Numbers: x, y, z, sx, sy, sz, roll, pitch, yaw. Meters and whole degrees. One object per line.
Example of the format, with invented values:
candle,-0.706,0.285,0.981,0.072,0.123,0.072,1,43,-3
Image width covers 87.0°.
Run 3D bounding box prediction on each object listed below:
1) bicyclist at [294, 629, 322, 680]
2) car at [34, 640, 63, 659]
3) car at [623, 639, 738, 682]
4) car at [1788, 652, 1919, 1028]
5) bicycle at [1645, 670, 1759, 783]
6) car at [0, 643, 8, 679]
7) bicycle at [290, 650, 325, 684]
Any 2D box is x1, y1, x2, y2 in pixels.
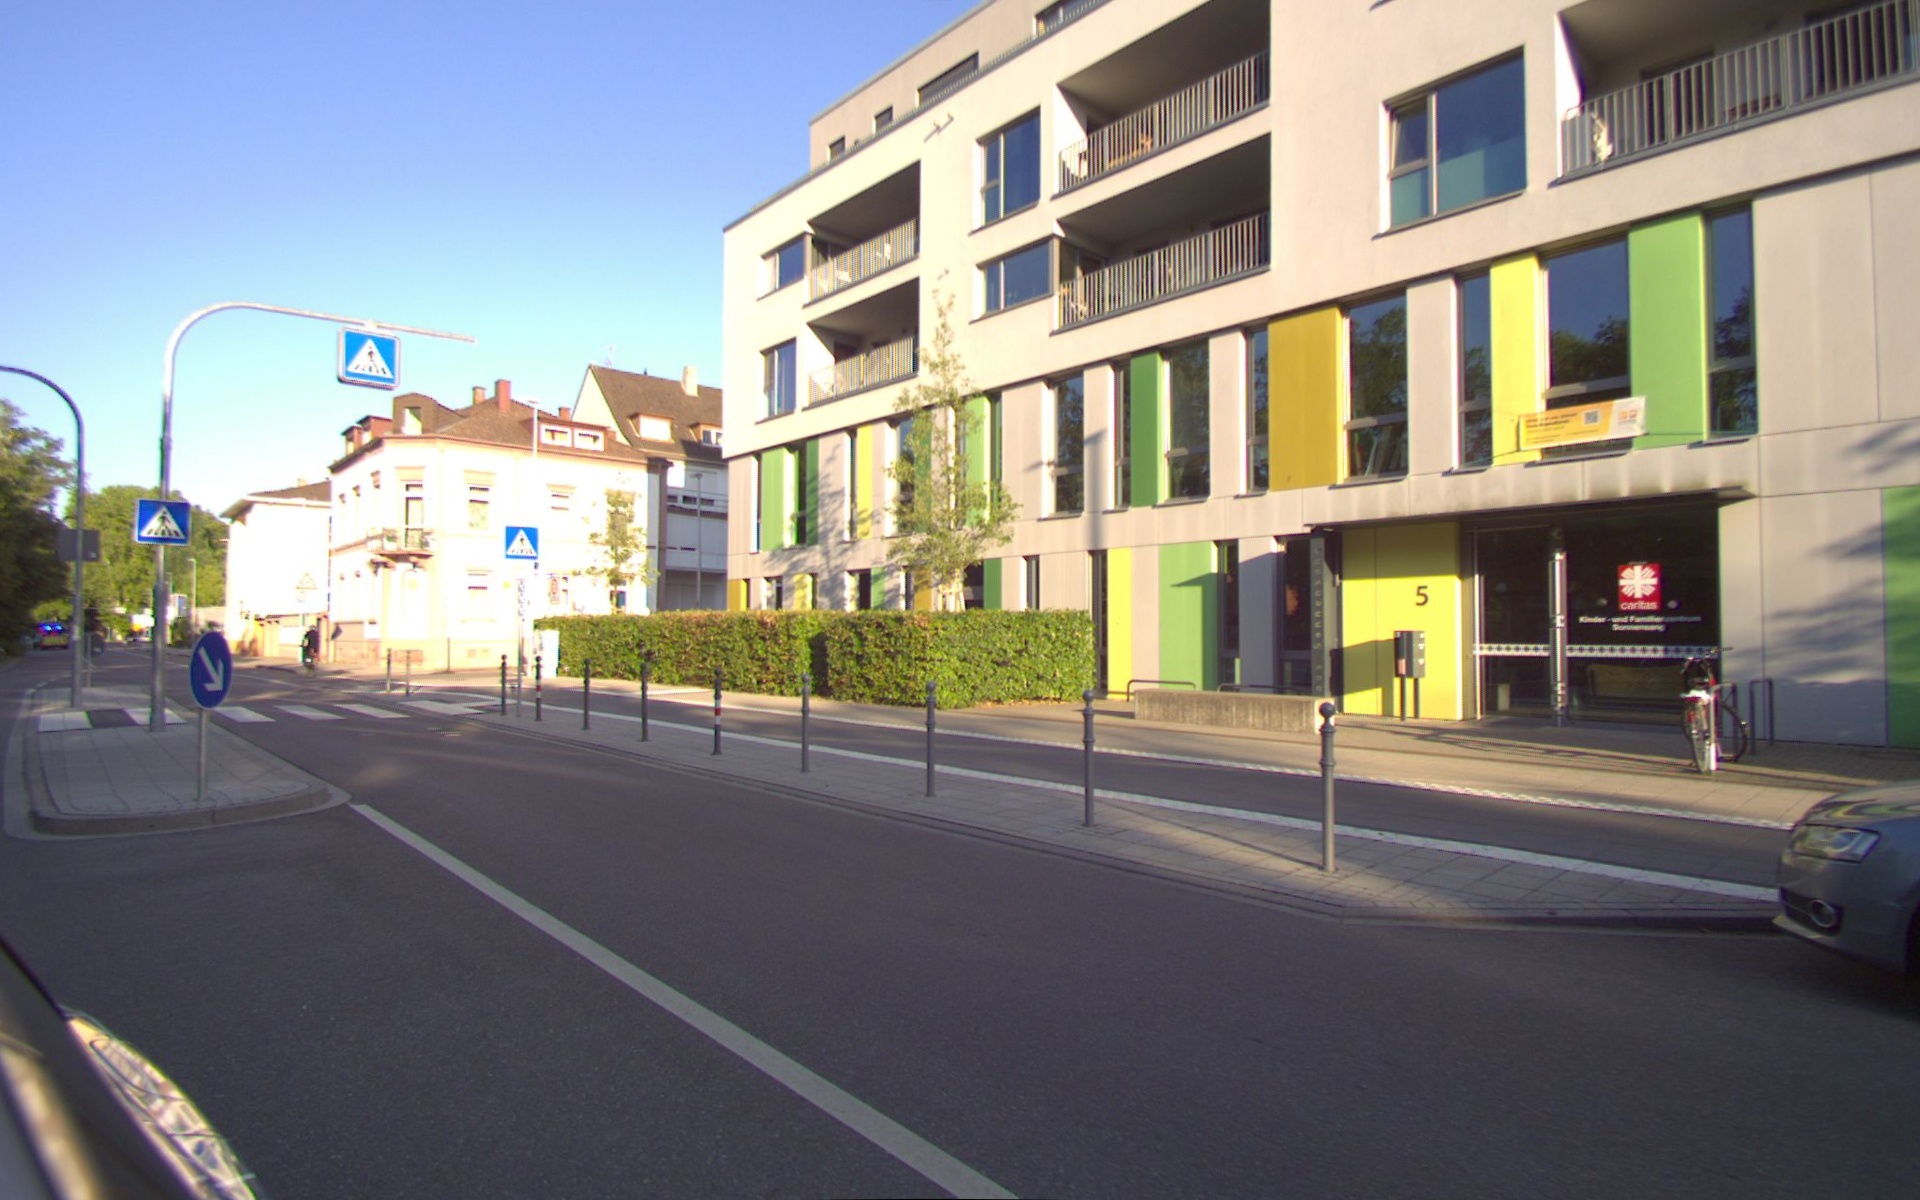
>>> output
bicyclist,-21.392,1.792,33.193,0.619,1.657,0.758,2,-4,-43
car,-102.085,5.549,113.381,2.195,2.029,4.897,2,-3,-41
car,-10.854,2.320,39.381,3.857,1.449,1.822,2,2,-41
car,5.391,0.855,2.936,1.721,1.367,4.401,3,-4,-42
bicycle,7.355,1.203,10.003,1.731,0.925,0.618,0,-2,-44
car,-41.571,2.582,42.692,1.726,1.498,4.516,2,-3,-40
bicycle,-21.414,2.186,33.198,0.626,1.086,1.885,2,-3,-43
